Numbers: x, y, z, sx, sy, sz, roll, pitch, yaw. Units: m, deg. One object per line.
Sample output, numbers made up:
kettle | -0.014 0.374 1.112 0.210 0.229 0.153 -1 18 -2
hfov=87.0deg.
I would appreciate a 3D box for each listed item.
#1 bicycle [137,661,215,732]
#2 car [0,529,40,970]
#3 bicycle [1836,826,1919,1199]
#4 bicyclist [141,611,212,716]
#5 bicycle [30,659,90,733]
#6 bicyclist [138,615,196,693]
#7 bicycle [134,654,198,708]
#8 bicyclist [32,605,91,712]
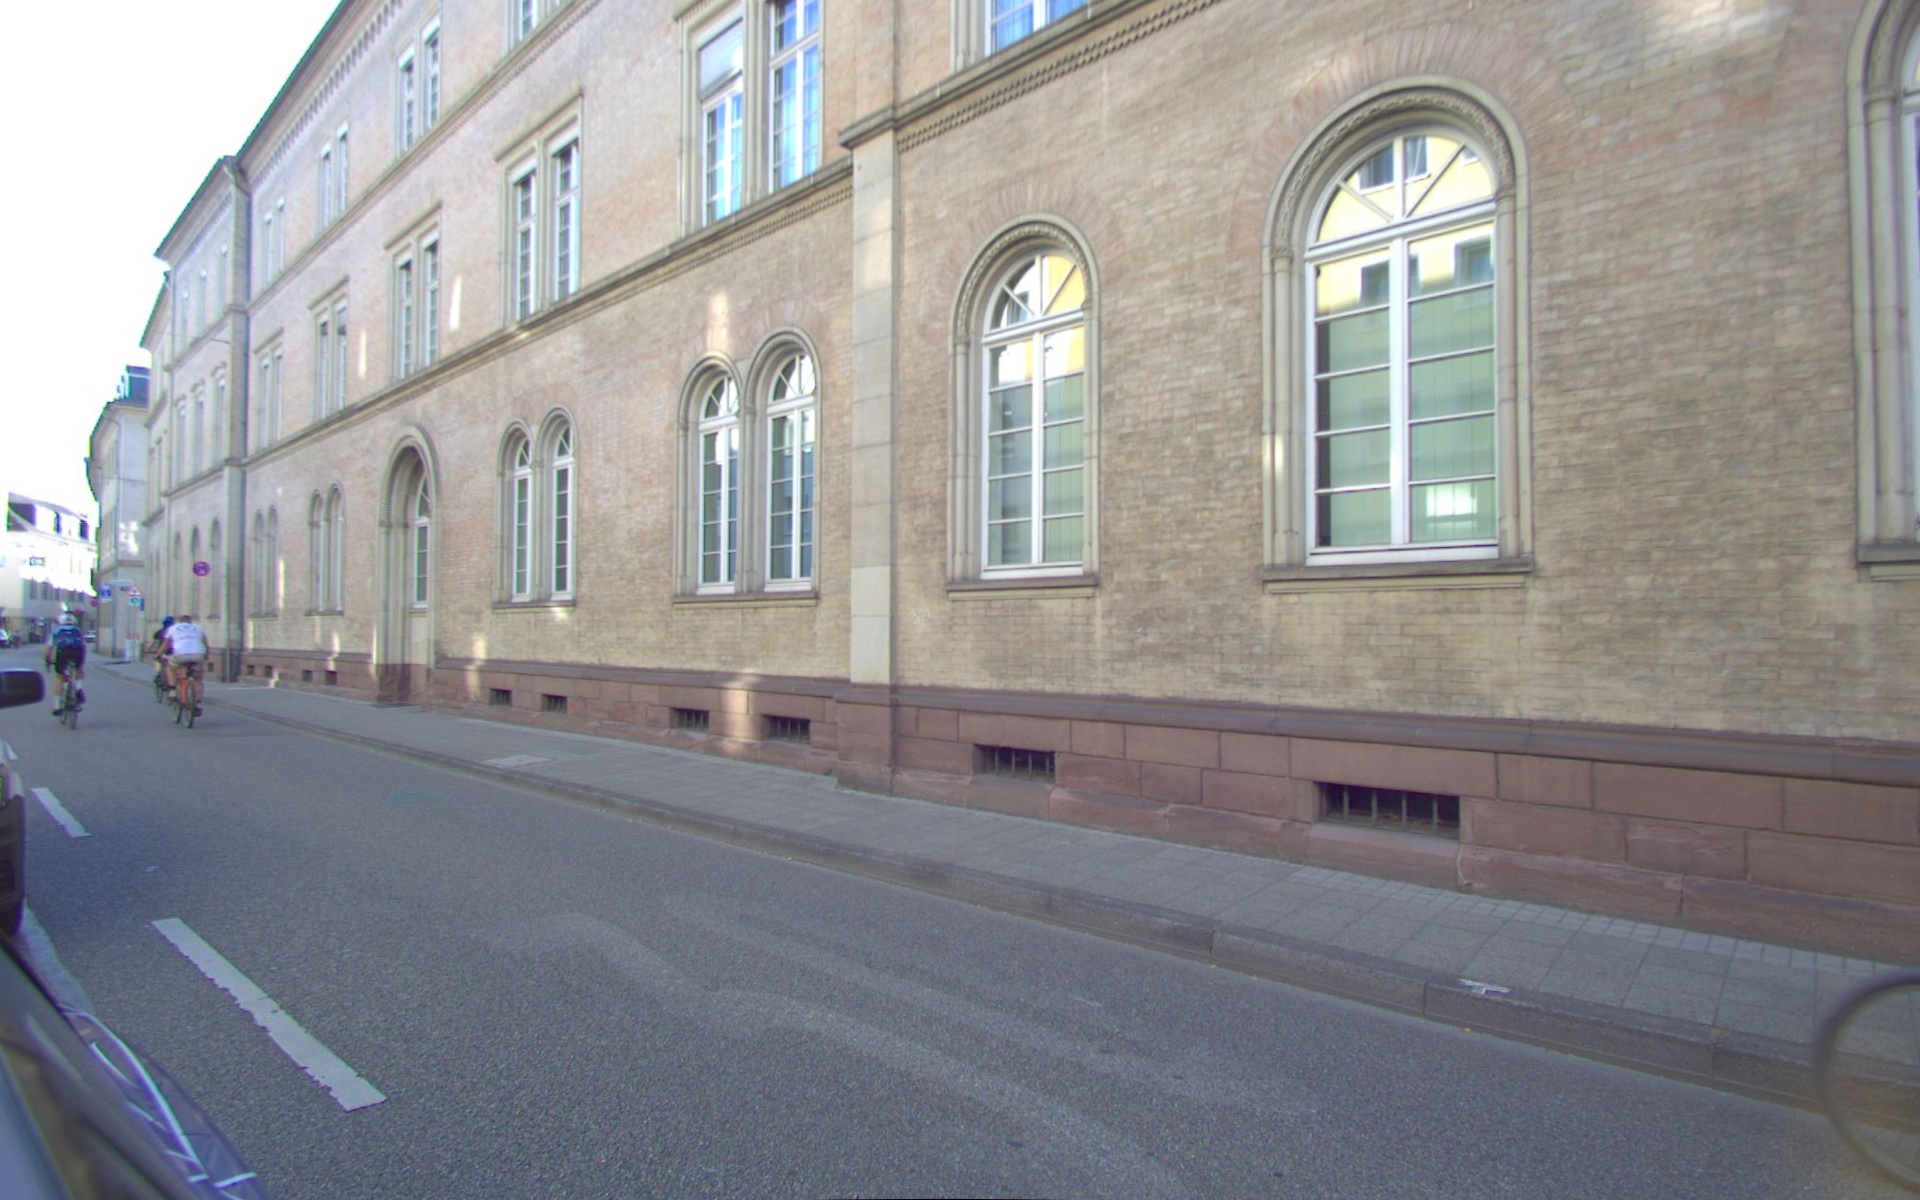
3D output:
bicycle | -12.258 1.484 15.805 1.806 1.014 0.643 -2 -5 43
car | -6.558 0.669 5.420 5.338 1.850 1.795 -2 -3 41
bicycle | 3.266 1.153 2.403 1.765 0.931 0.678 -2 -5 41
bicyclist | -12.243 0.990 15.820 0.961 1.579 0.643 -2 -5 43
bicycle | -13.299 1.390 14.944 0.538 1.014 1.758 5 -5 -43
bicyclist | -15.959 1.079 20.364 1.111 1.520 0.643 -2 -5 42
bicycle | -15.960 1.615 20.328 1.875 1.014 0.643 -2 -5 42
bicyclist | -13.391 0.867 15.078 0.538 1.545 0.870 5 -5 -44
